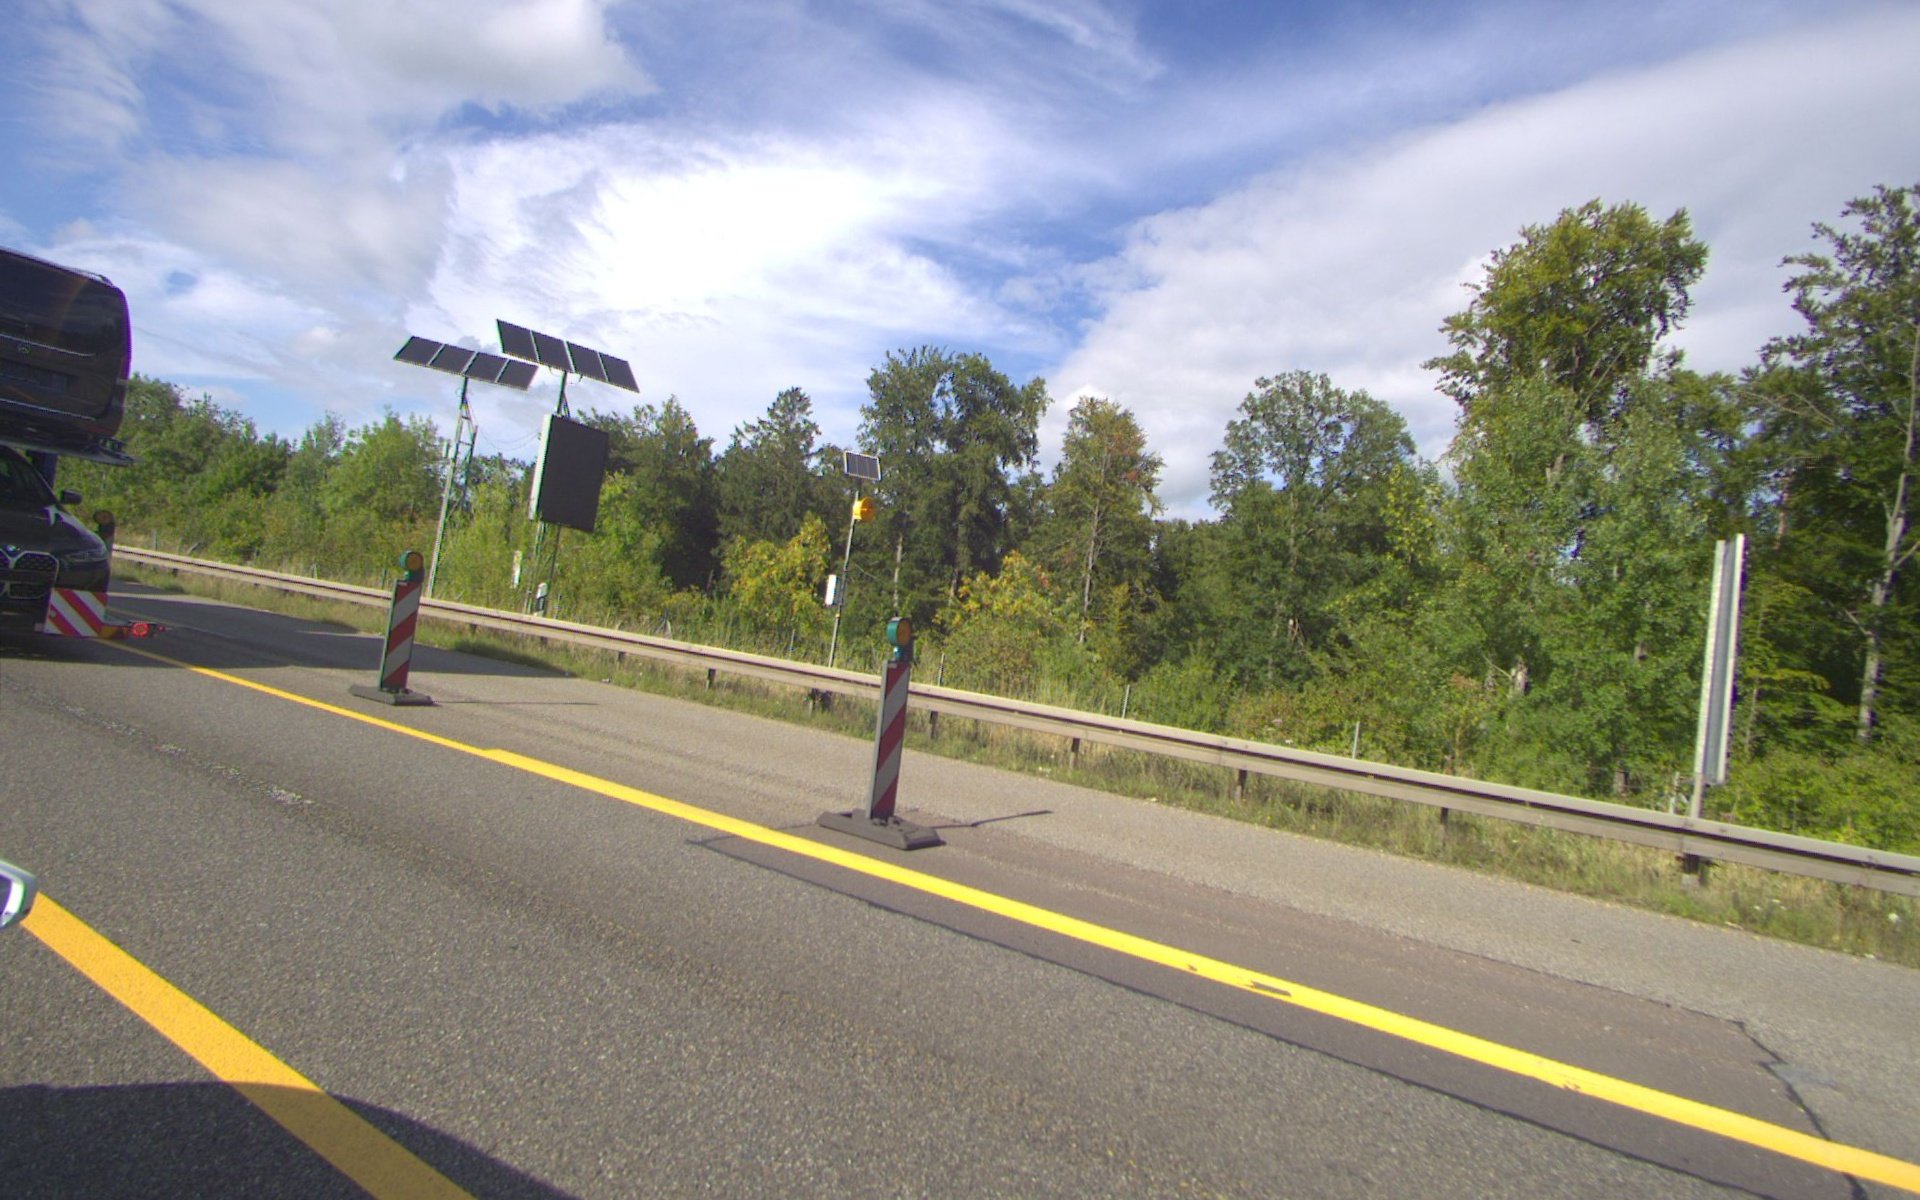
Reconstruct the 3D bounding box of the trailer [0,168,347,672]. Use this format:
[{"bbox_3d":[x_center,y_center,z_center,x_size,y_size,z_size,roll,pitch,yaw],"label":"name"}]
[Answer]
[{"bbox_3d":[-14.764,-2.271,13.652,15.956,4.245,3.734,6,-2,31],"label":"trailer"}]
